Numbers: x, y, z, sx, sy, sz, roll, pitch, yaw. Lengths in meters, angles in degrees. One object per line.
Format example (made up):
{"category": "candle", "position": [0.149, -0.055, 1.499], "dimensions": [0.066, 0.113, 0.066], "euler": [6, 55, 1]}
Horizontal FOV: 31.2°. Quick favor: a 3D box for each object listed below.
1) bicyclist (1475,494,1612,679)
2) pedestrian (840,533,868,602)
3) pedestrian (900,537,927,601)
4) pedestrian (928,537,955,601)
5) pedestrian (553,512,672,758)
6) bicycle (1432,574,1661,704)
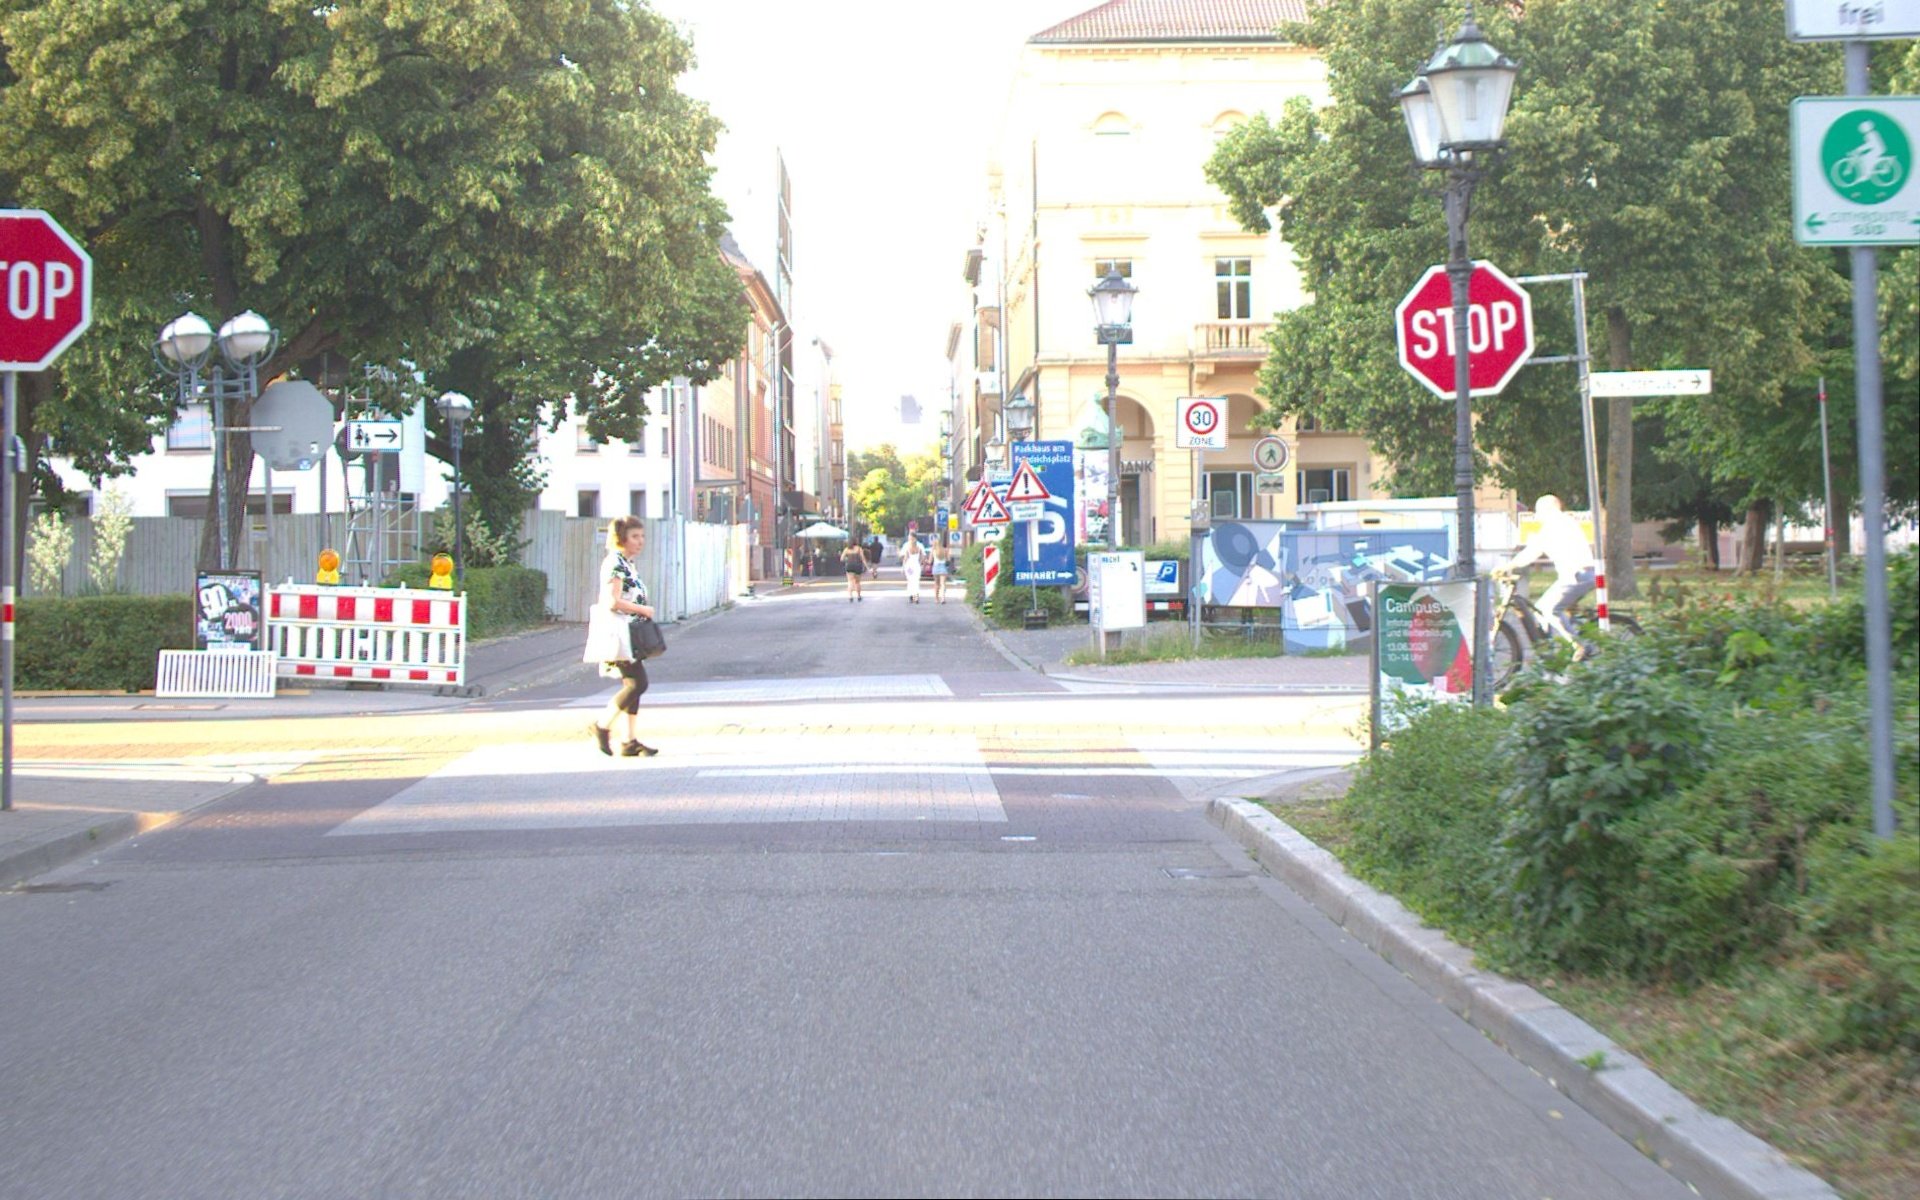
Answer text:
{"category": "bicyclist", "position": [5.236, -0.125, 30.864], "dimensions": [1.060, 1.627, 0.596], "euler": [-1, 1, -9]}
{"category": "pedestrian", "position": [-2.731, -0.847, 88.634], "dimensions": [0.657, 1.754, 0.745], "euler": [-1, 1, 0]}
{"category": "pedestrian", "position": [-1.173, -0.790, 87.284], "dimensions": [0.657, 1.611, 0.745], "euler": [-1, 1, 0]}
{"category": "pedestrian", "position": [-0.473, -0.791, 87.178], "dimensions": [0.657, 1.611, 0.745], "euler": [-1, 1, 0]}
{"category": "pedestrian", "position": [-2.424, 0.235, 24.062], "dimensions": [0.734, 1.683, 0.836], "euler": [-1, 1, -1]}
{"category": "bicycle", "position": [5.262, 0.340, 30.857], "dimensions": [1.927, 1.117, 0.596], "euler": [-1, 1, -9]}
